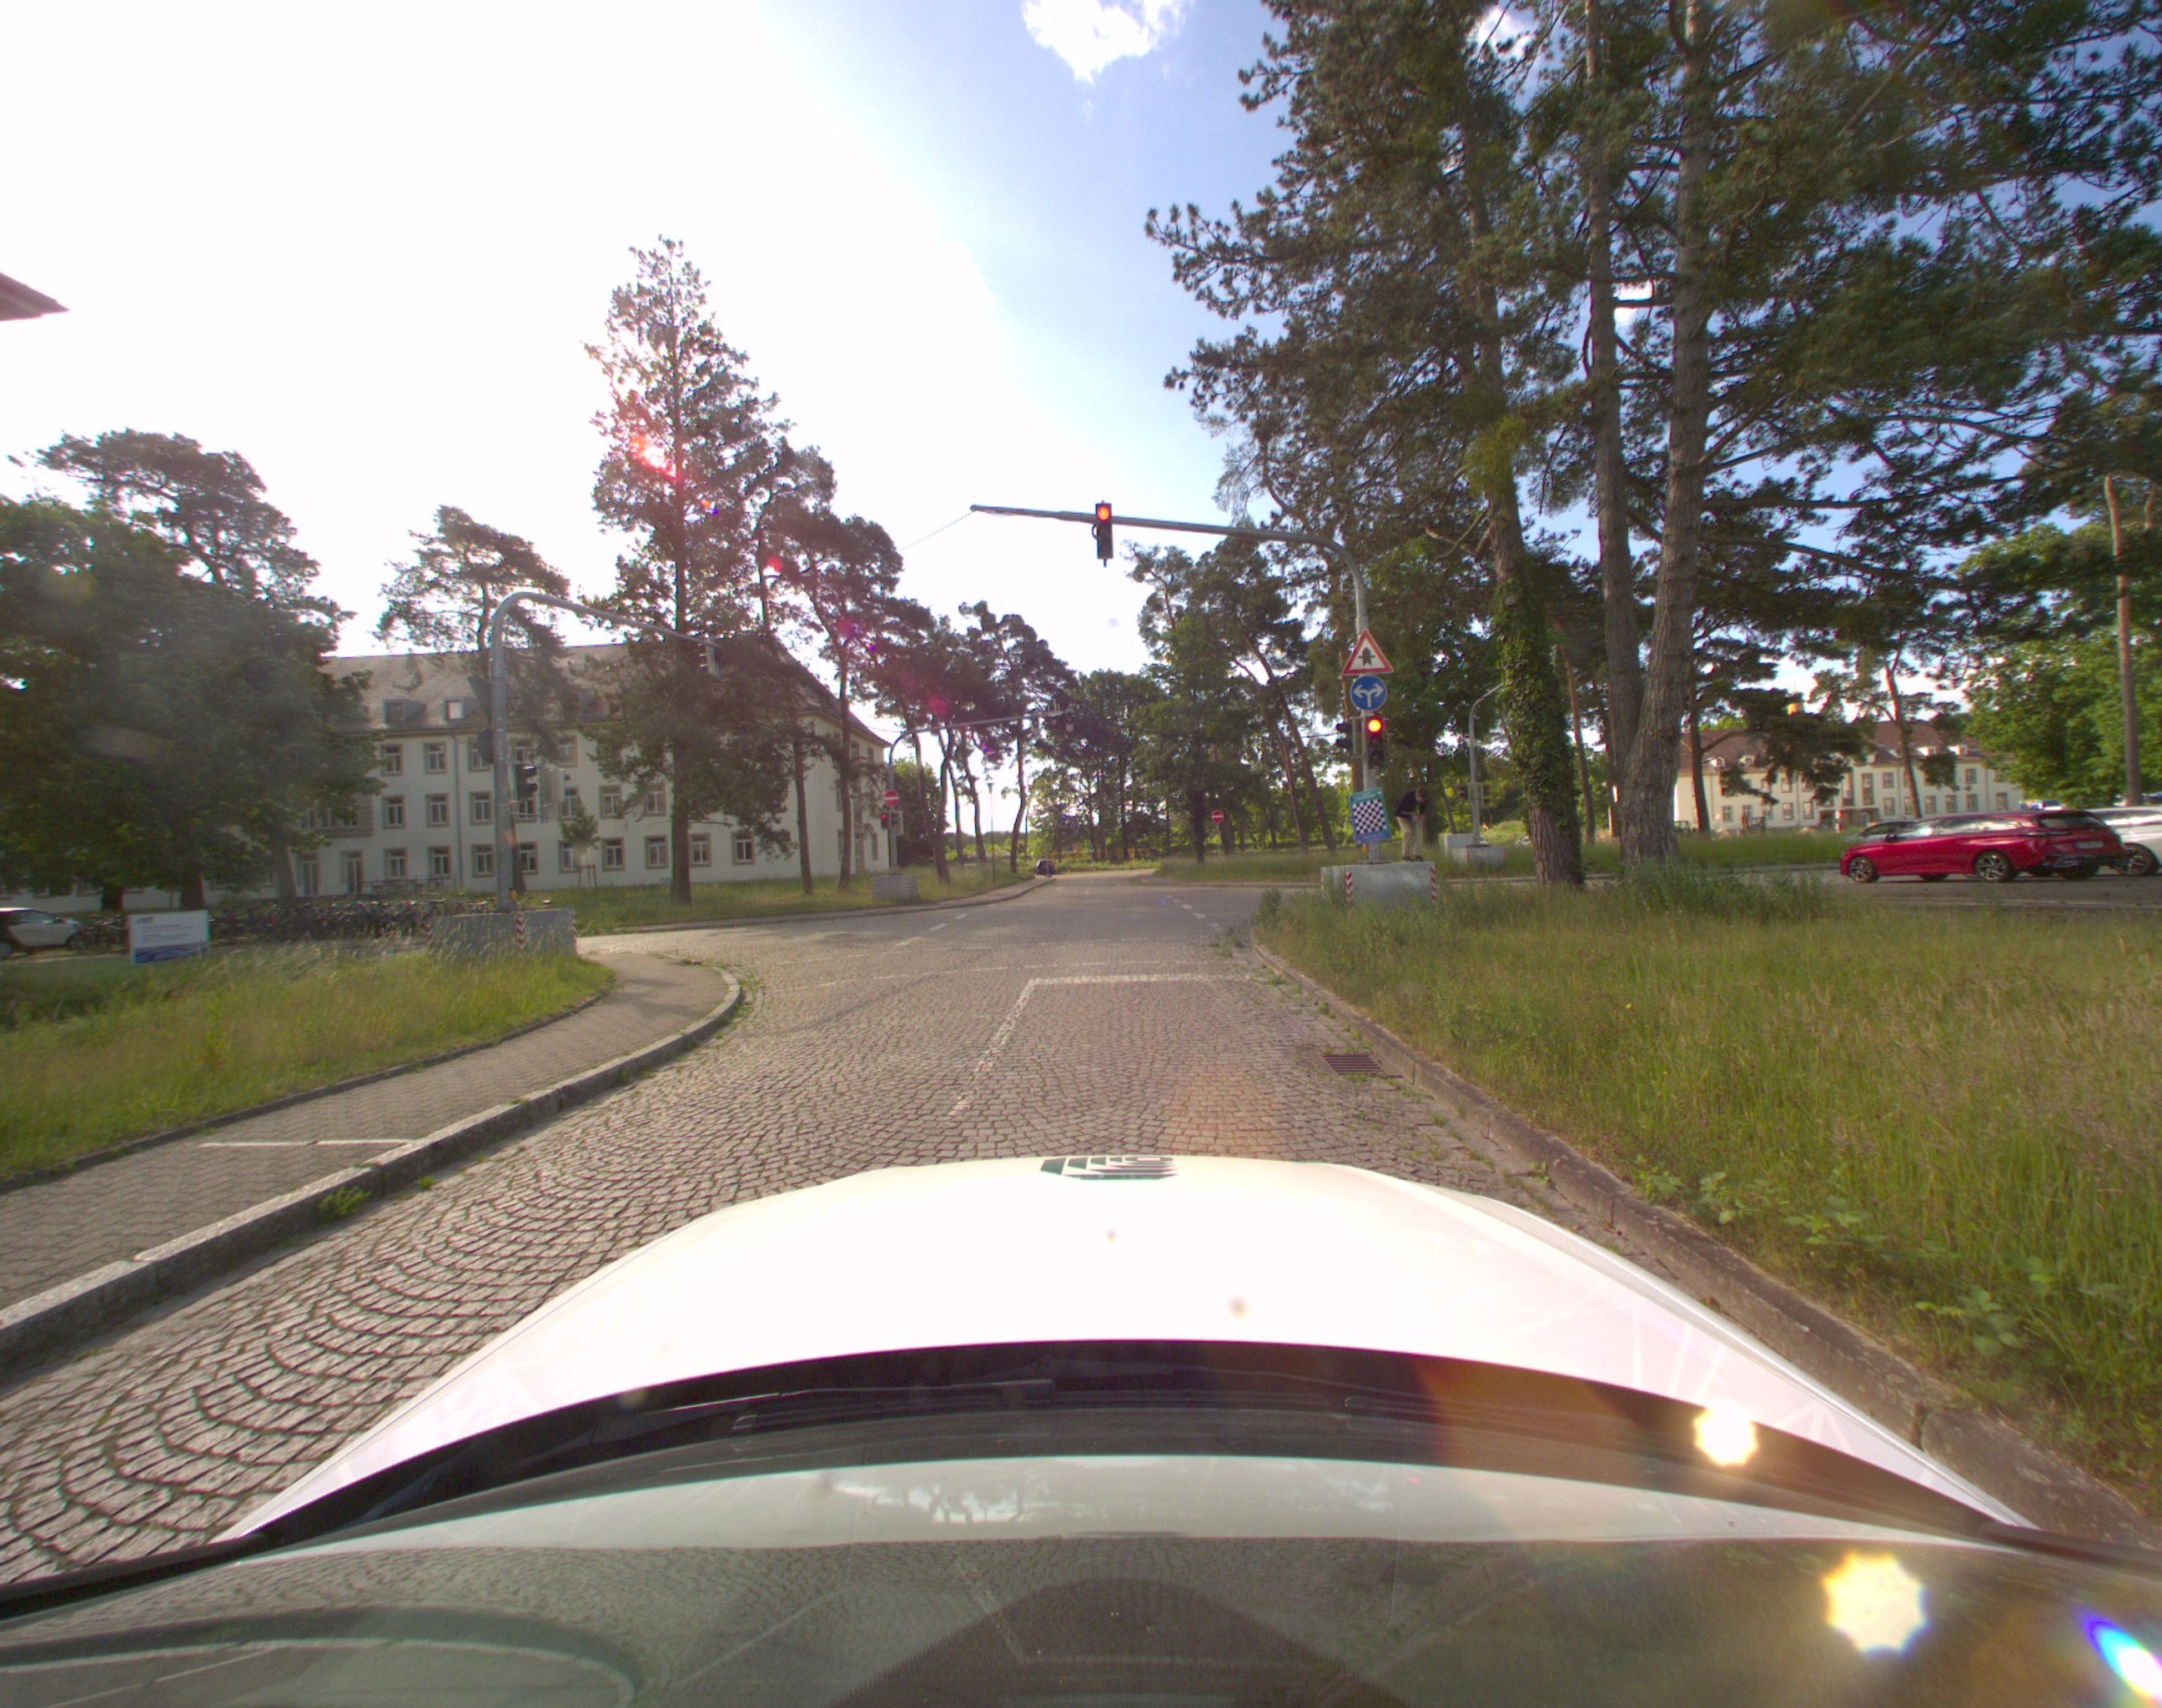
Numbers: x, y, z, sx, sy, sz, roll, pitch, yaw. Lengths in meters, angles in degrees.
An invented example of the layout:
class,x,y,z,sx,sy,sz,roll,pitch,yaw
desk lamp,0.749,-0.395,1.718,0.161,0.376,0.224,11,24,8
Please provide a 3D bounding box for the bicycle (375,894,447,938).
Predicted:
class,x,y,z,sx,sy,sz,roll,pitch,yaw
bicycle,-21.151,1.941,25.759,0.512,1.220,2.016,-3,0,1

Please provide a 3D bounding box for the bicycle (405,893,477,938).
class,x,y,z,sx,sy,sz,roll,pitch,yaw
bicycle,-20.069,1.911,25.603,0.576,1.220,2.029,-3,0,1

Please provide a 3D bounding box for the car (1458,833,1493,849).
class,x,y,z,sx,sy,sz,roll,pitch,yaw
car,41.911,-1.356,86.595,1.820,1.582,4.164,-3,0,1

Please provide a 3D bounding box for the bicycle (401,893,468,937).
class,x,y,z,sx,sy,sz,roll,pitch,yaw
bicycle,-20.632,1.926,26.030,0.546,1.220,1.900,-3,0,1

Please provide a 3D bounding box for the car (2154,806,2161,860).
class,x,y,z,sx,sy,sz,roll,pitch,yaw
car,26.910,-0.564,17.803,1.610,1.315,4.047,-4,0,2

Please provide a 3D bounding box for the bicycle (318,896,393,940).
class,x,y,z,sx,sy,sz,roll,pitch,yaw
bicycle,-22.843,1.984,25.688,0.512,1.220,1.954,-3,0,1

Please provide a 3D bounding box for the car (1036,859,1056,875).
class,x,y,z,sx,sy,sz,roll,pitch,yaw
car,-3.480,1.261,81.472,1.704,1.496,3.917,-3,0,-1

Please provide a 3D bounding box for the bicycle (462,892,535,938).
class,x,y,z,sx,sy,sz,roll,pitch,yaw
bicycle,-17.875,1.843,25.063,0.631,1.220,2.124,-3,0,1

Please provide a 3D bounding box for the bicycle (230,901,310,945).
class,x,y,z,sx,sy,sz,roll,pitch,yaw
bicycle,-25.605,2.158,25.753,0.512,1.220,1.937,-3,0,1

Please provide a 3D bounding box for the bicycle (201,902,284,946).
class,x,y,z,sx,sy,sz,roll,pitch,yaw
bicycle,-26.481,2.184,25.767,0.512,1.220,1.937,-3,0,1

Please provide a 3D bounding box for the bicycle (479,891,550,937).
class,x,y,z,sx,sy,sz,roll,pitch,yaw
bicycle,-17.392,1.827,25.068,0.631,1.220,2.114,-3,0,1

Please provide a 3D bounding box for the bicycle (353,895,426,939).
class,x,y,z,sx,sy,sz,roll,pitch,yaw
bicycle,-21.799,1.960,25.718,0.512,1.220,1.977,-3,0,1

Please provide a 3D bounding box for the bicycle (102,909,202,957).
class,x,y,z,sx,sy,sz,roll,pitch,yaw
bicycle,-27.458,2.326,24.113,1.837,1.220,0.510,-3,0,-35

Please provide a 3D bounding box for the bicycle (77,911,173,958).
class,x,y,z,sx,sy,sz,roll,pitch,yaw
bicycle,-28.954,2.404,24.690,0.509,1.220,1.841,-3,0,38

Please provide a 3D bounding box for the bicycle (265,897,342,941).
class,x,y,z,sx,sy,sz,roll,pitch,yaw
bicycle,-24.535,2.034,25.753,0.512,1.220,1.937,-3,0,1

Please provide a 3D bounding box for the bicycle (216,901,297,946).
class,x,y,z,sx,sy,sz,roll,pitch,yaw
bicycle,-26.034,2.170,25.756,0.512,1.220,1.937,-3,0,1

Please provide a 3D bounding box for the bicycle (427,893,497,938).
class,x,y,z,sx,sy,sz,roll,pitch,yaw
bicycle,-19.325,1.886,25.467,0.570,1.220,1.990,-3,0,1

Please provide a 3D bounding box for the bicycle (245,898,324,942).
class,x,y,z,sx,sy,sz,roll,pitch,yaw
bicycle,-25.145,2.052,25.746,0.512,1.220,1.937,-3,0,1

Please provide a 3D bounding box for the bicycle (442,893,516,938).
class,x,y,z,sx,sy,sz,roll,pitch,yaw
bicycle,-18.479,1.861,25.075,0.631,1.220,2.105,-3,0,1

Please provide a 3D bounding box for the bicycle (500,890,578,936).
class,x,y,z,sx,sy,sz,roll,pitch,yaw
bicycle,-16.154,1.745,24.298,1.855,1.220,0.635,-3,0,1

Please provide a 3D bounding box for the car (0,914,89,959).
class,x,y,z,sx,sy,sz,roll,pitch,yaw
car,-33.934,2.647,25.371,1.504,1.211,3.596,-3,0,3

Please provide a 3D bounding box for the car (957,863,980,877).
class,x,y,z,sx,sy,sz,roll,pitch,yaw
car,-11.359,1.600,82.344,1.704,1.274,3.917,-3,0,-1

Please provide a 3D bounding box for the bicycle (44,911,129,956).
class,x,y,z,sx,sy,sz,roll,pitch,yaw
bicycle,-30.894,2.453,25.336,0.513,1.220,1.825,-3,0,-7

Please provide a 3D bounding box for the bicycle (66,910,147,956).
class,x,y,z,sx,sy,sz,roll,pitch,yaw
bicycle,-30.288,2.435,25.348,0.514,1.220,1.823,-3,0,-9

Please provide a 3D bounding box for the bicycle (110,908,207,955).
class,x,y,z,sx,sy,sz,roll,pitch,yaw
bicycle,-27.845,2.331,24.624,1.837,1.220,0.510,-3,0,-35

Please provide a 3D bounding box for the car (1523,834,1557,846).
class,x,y,z,sx,sy,sz,roll,pitch,yaw
car,48.935,-1.484,86.858,1.713,1.087,4.009,-3,0,8

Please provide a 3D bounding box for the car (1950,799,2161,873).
class,x,y,z,sx,sy,sz,roll,pitch,yaw
car,21.738,-0.356,17.384,1.773,1.379,4.239,-3,-2,0

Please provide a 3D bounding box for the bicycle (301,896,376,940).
class,x,y,z,sx,sy,sz,roll,pitch,yaw
bicycle,-23.398,2.001,25.703,0.512,1.220,1.937,-3,0,1

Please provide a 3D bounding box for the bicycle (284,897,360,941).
class,x,y,z,sx,sy,sz,roll,pitch,yaw
bicycle,-23.943,2.017,25.730,0.512,1.220,1.937,-3,0,1

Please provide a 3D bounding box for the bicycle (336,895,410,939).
class,x,y,z,sx,sy,sz,roll,pitch,yaw
bicycle,-22.317,1.972,25.716,0.512,1.220,1.977,-3,0,1

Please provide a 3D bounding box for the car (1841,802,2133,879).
class,x,y,z,sx,sy,sz,roll,pitch,yaw
car,18.899,-0.213,17.327,1.649,1.399,4.130,-2,-1,1

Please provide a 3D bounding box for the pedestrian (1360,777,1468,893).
class,x,y,z,sx,sy,sz,roll,pitch,yaw
pedestrian,5.523,-0.304,13.566,1.170,1.796,1.057,-3,0,-14
